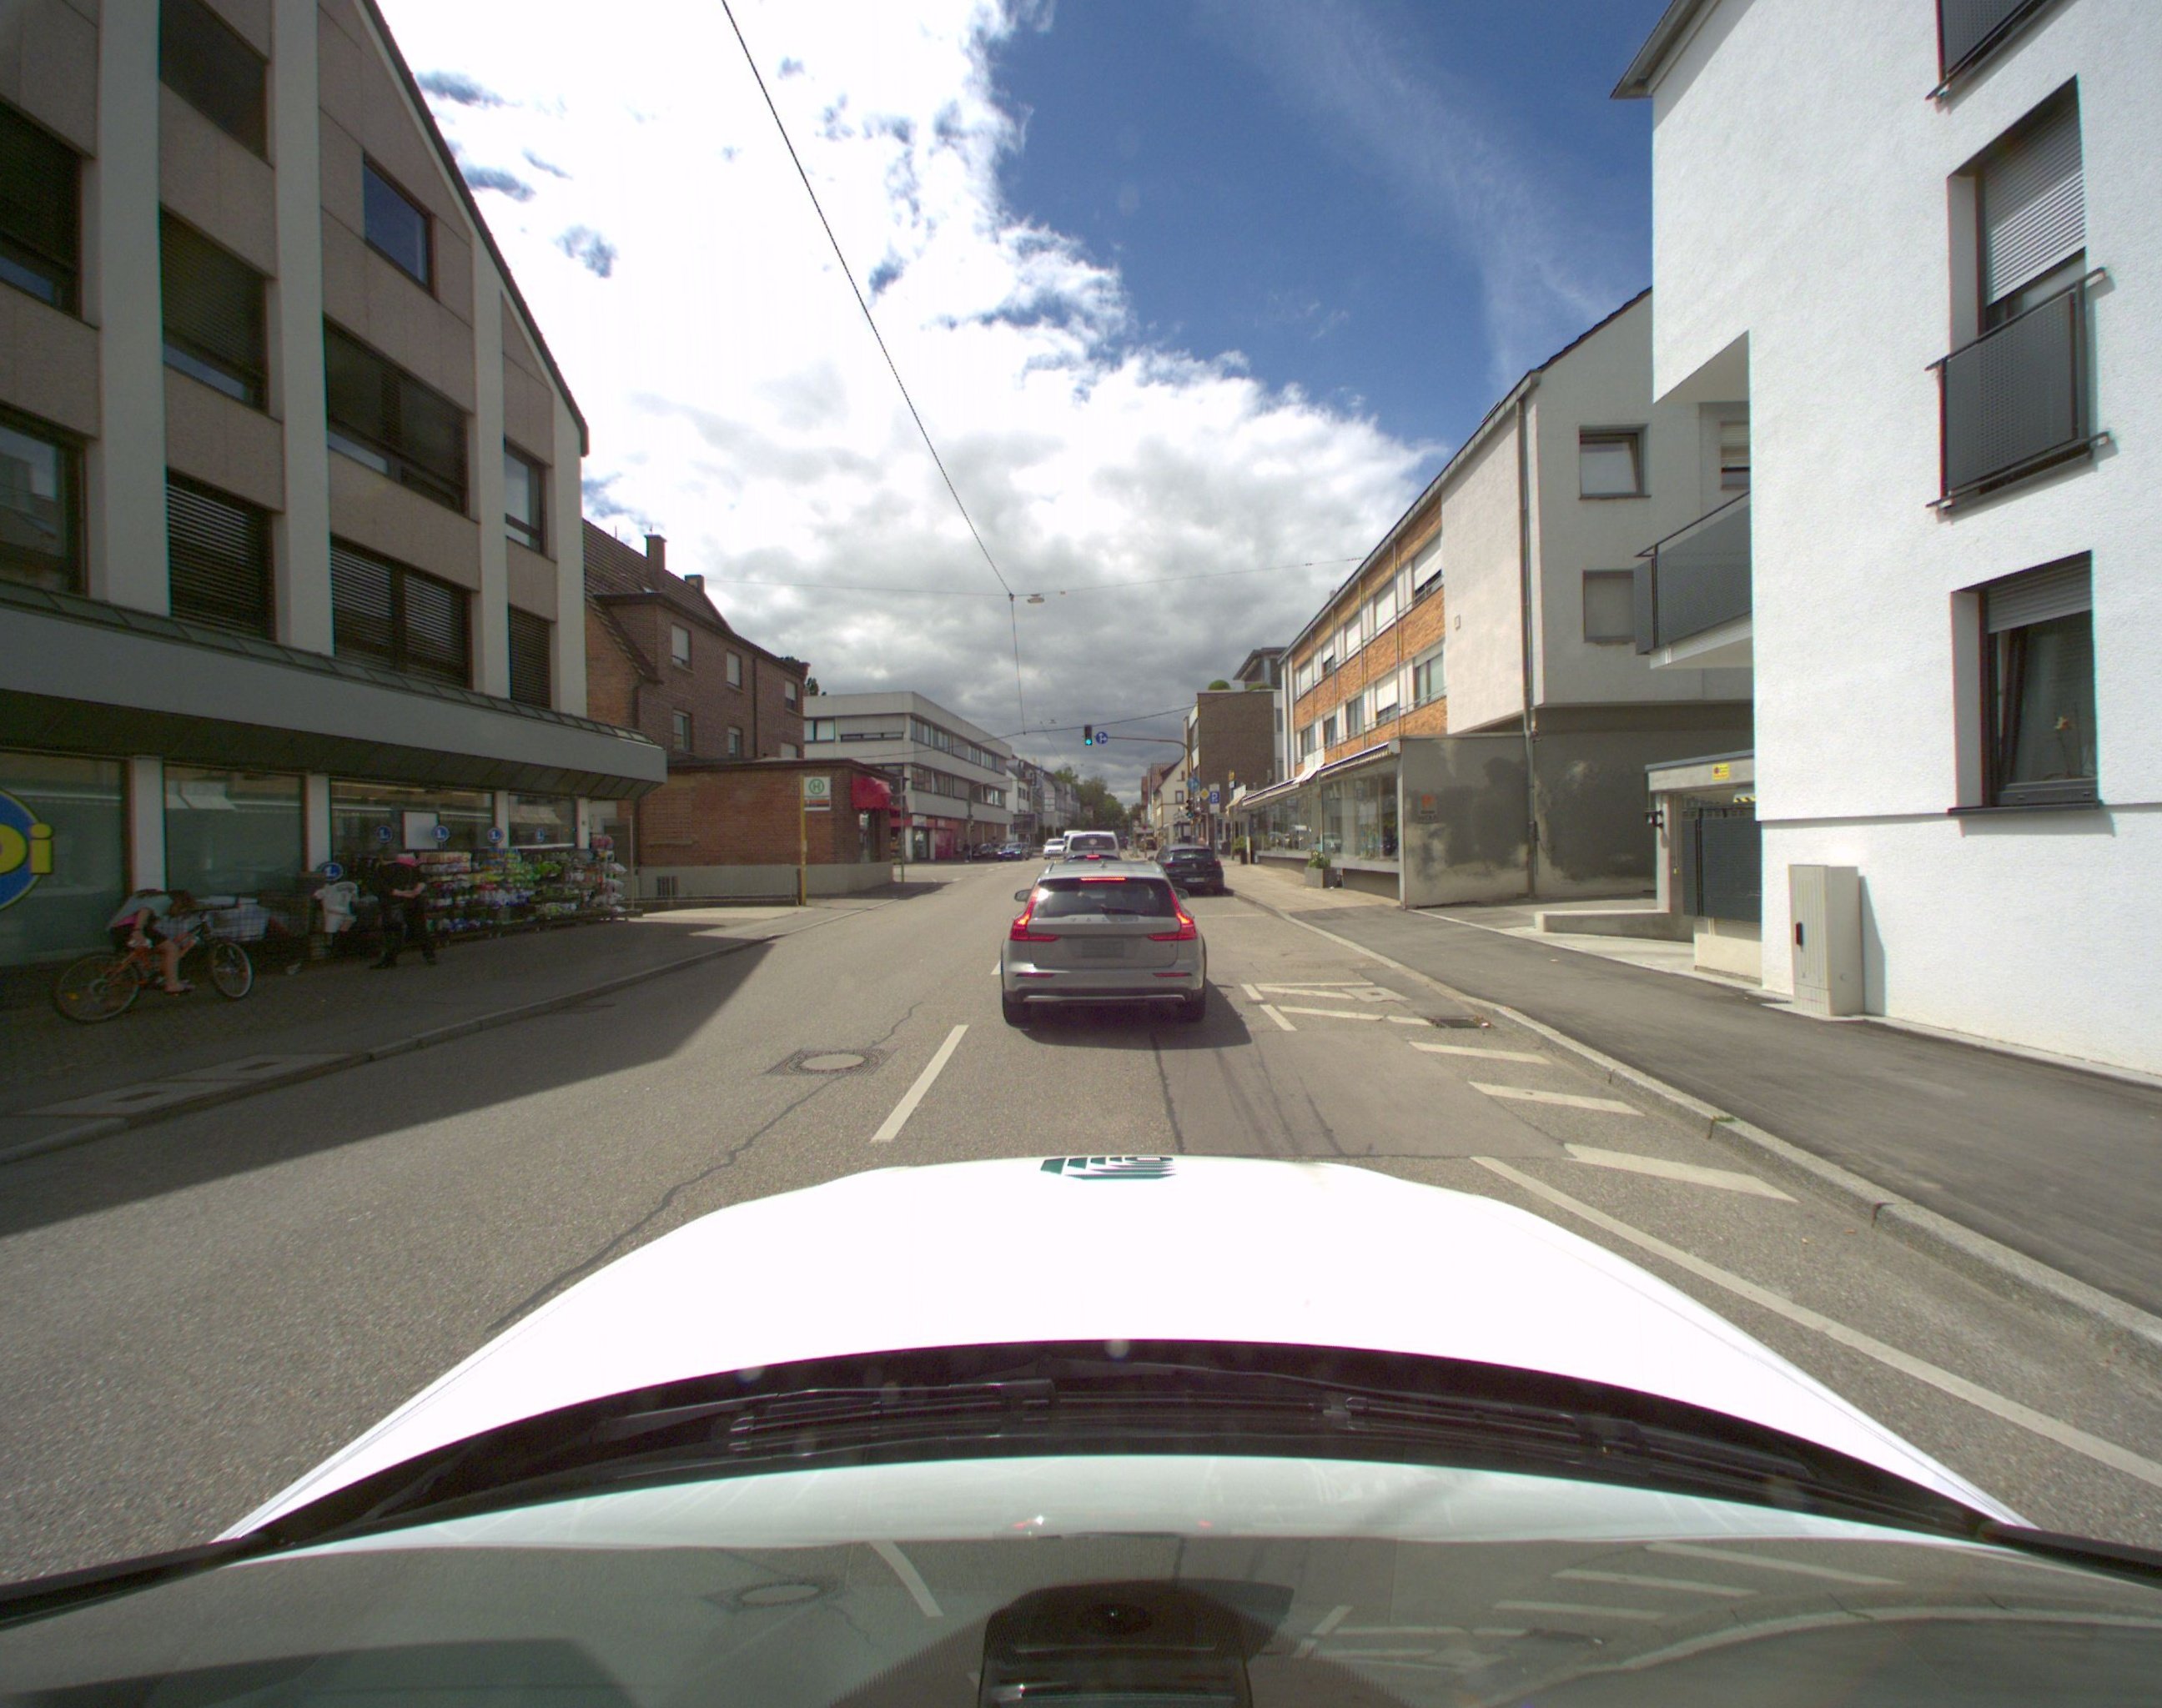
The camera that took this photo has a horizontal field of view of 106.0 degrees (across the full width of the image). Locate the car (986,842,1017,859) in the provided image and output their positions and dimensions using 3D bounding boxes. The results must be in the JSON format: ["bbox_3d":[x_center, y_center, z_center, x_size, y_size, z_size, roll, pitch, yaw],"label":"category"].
[{"bbox_3d":[-7.122,-0.364,73.143,1.894,1.443,4.451,0,1,6],"label":"car"}]

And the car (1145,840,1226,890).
[{"bbox_3d":[2.996,0.305,24.110,1.803,1.346,3.715,-1,0,-2],"label":"car"}]

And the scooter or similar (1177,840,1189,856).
[{"bbox_3d":[8.472,-0.488,67.821,0.342,1.253,1.236,-4,0,-24],"label":"scooter or similar"}]

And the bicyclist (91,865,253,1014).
[{"bbox_3d":[-8.848,0.804,7.961,0.665,1.337,0.762,3,0,1],"label":"bicyclist"}]

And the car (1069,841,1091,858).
[{"bbox_3d":[-0.084,-0.412,78.334,1.782,1.511,3.850,-1,0,5],"label":"car"}]

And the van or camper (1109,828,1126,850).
[{"bbox_3d":[4.926,-1.993,108.253,2.114,2.686,4.785,-2,1,3],"label":"van or camper"}]

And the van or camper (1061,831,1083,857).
[{"bbox_3d":[-0.871,-1.127,86.539,2.141,2.556,5.438,-2,2,0],"label":"van or camper"}]

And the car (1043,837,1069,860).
[{"bbox_3d":[-1.984,-0.469,65.060,1.768,1.612,4.122,-3,2,2],"label":"car"}]

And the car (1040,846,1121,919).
[{"bbox_3d":[0.046,0.564,18.534,1.644,1.482,3.609,-1,0,2],"label":"car"}]

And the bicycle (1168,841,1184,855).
[{"bbox_3d":[8.290,-0.502,71.180,0.555,1.144,2.288,-2,1,-15],"label":"bicycle"}]

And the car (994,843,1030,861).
[{"bbox_3d":[-5.316,-0.180,63.429,1.984,1.337,4.363,-2,1,5],"label":"car"}]

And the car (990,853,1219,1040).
[{"bbox_3d":[0.251,0.751,8.600,1.829,1.486,4.001,-1,0,2],"label":"car"}]

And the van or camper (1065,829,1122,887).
[{"bbox_3d":[0.471,0.081,28.652,1.812,1.834,4.003,-1,2,2],"label":"van or camper"}]

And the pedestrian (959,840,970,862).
[{"bbox_3d":[-8.606,-0.228,60.377,0.616,1.641,0.661,-2,1,3],"label":"pedestrian"}]

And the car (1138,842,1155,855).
[{"bbox_3d":[7.680,-0.660,96.283,1.705,1.464,3.999,-1,-1,0],"label":"car"}]

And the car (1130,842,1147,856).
[{"bbox_3d":[5.312,-0.447,75.973,1.433,1.288,3.249,-1,0,2],"label":"car"}]

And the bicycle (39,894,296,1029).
[{"bbox_3d":[-8.838,0.984,8.001,0.442,1.050,1.735,5,1,2],"label":"bicycle"}]

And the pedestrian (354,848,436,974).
[{"bbox_3d":[-8.895,0.718,10.592,0.776,1.558,0.567,1,-2,-39],"label":"pedestrian"}]

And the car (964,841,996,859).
[{"bbox_3d":[-8.328,-0.341,67.315,1.776,1.464,4.094,0,1,6],"label":"car"}]
